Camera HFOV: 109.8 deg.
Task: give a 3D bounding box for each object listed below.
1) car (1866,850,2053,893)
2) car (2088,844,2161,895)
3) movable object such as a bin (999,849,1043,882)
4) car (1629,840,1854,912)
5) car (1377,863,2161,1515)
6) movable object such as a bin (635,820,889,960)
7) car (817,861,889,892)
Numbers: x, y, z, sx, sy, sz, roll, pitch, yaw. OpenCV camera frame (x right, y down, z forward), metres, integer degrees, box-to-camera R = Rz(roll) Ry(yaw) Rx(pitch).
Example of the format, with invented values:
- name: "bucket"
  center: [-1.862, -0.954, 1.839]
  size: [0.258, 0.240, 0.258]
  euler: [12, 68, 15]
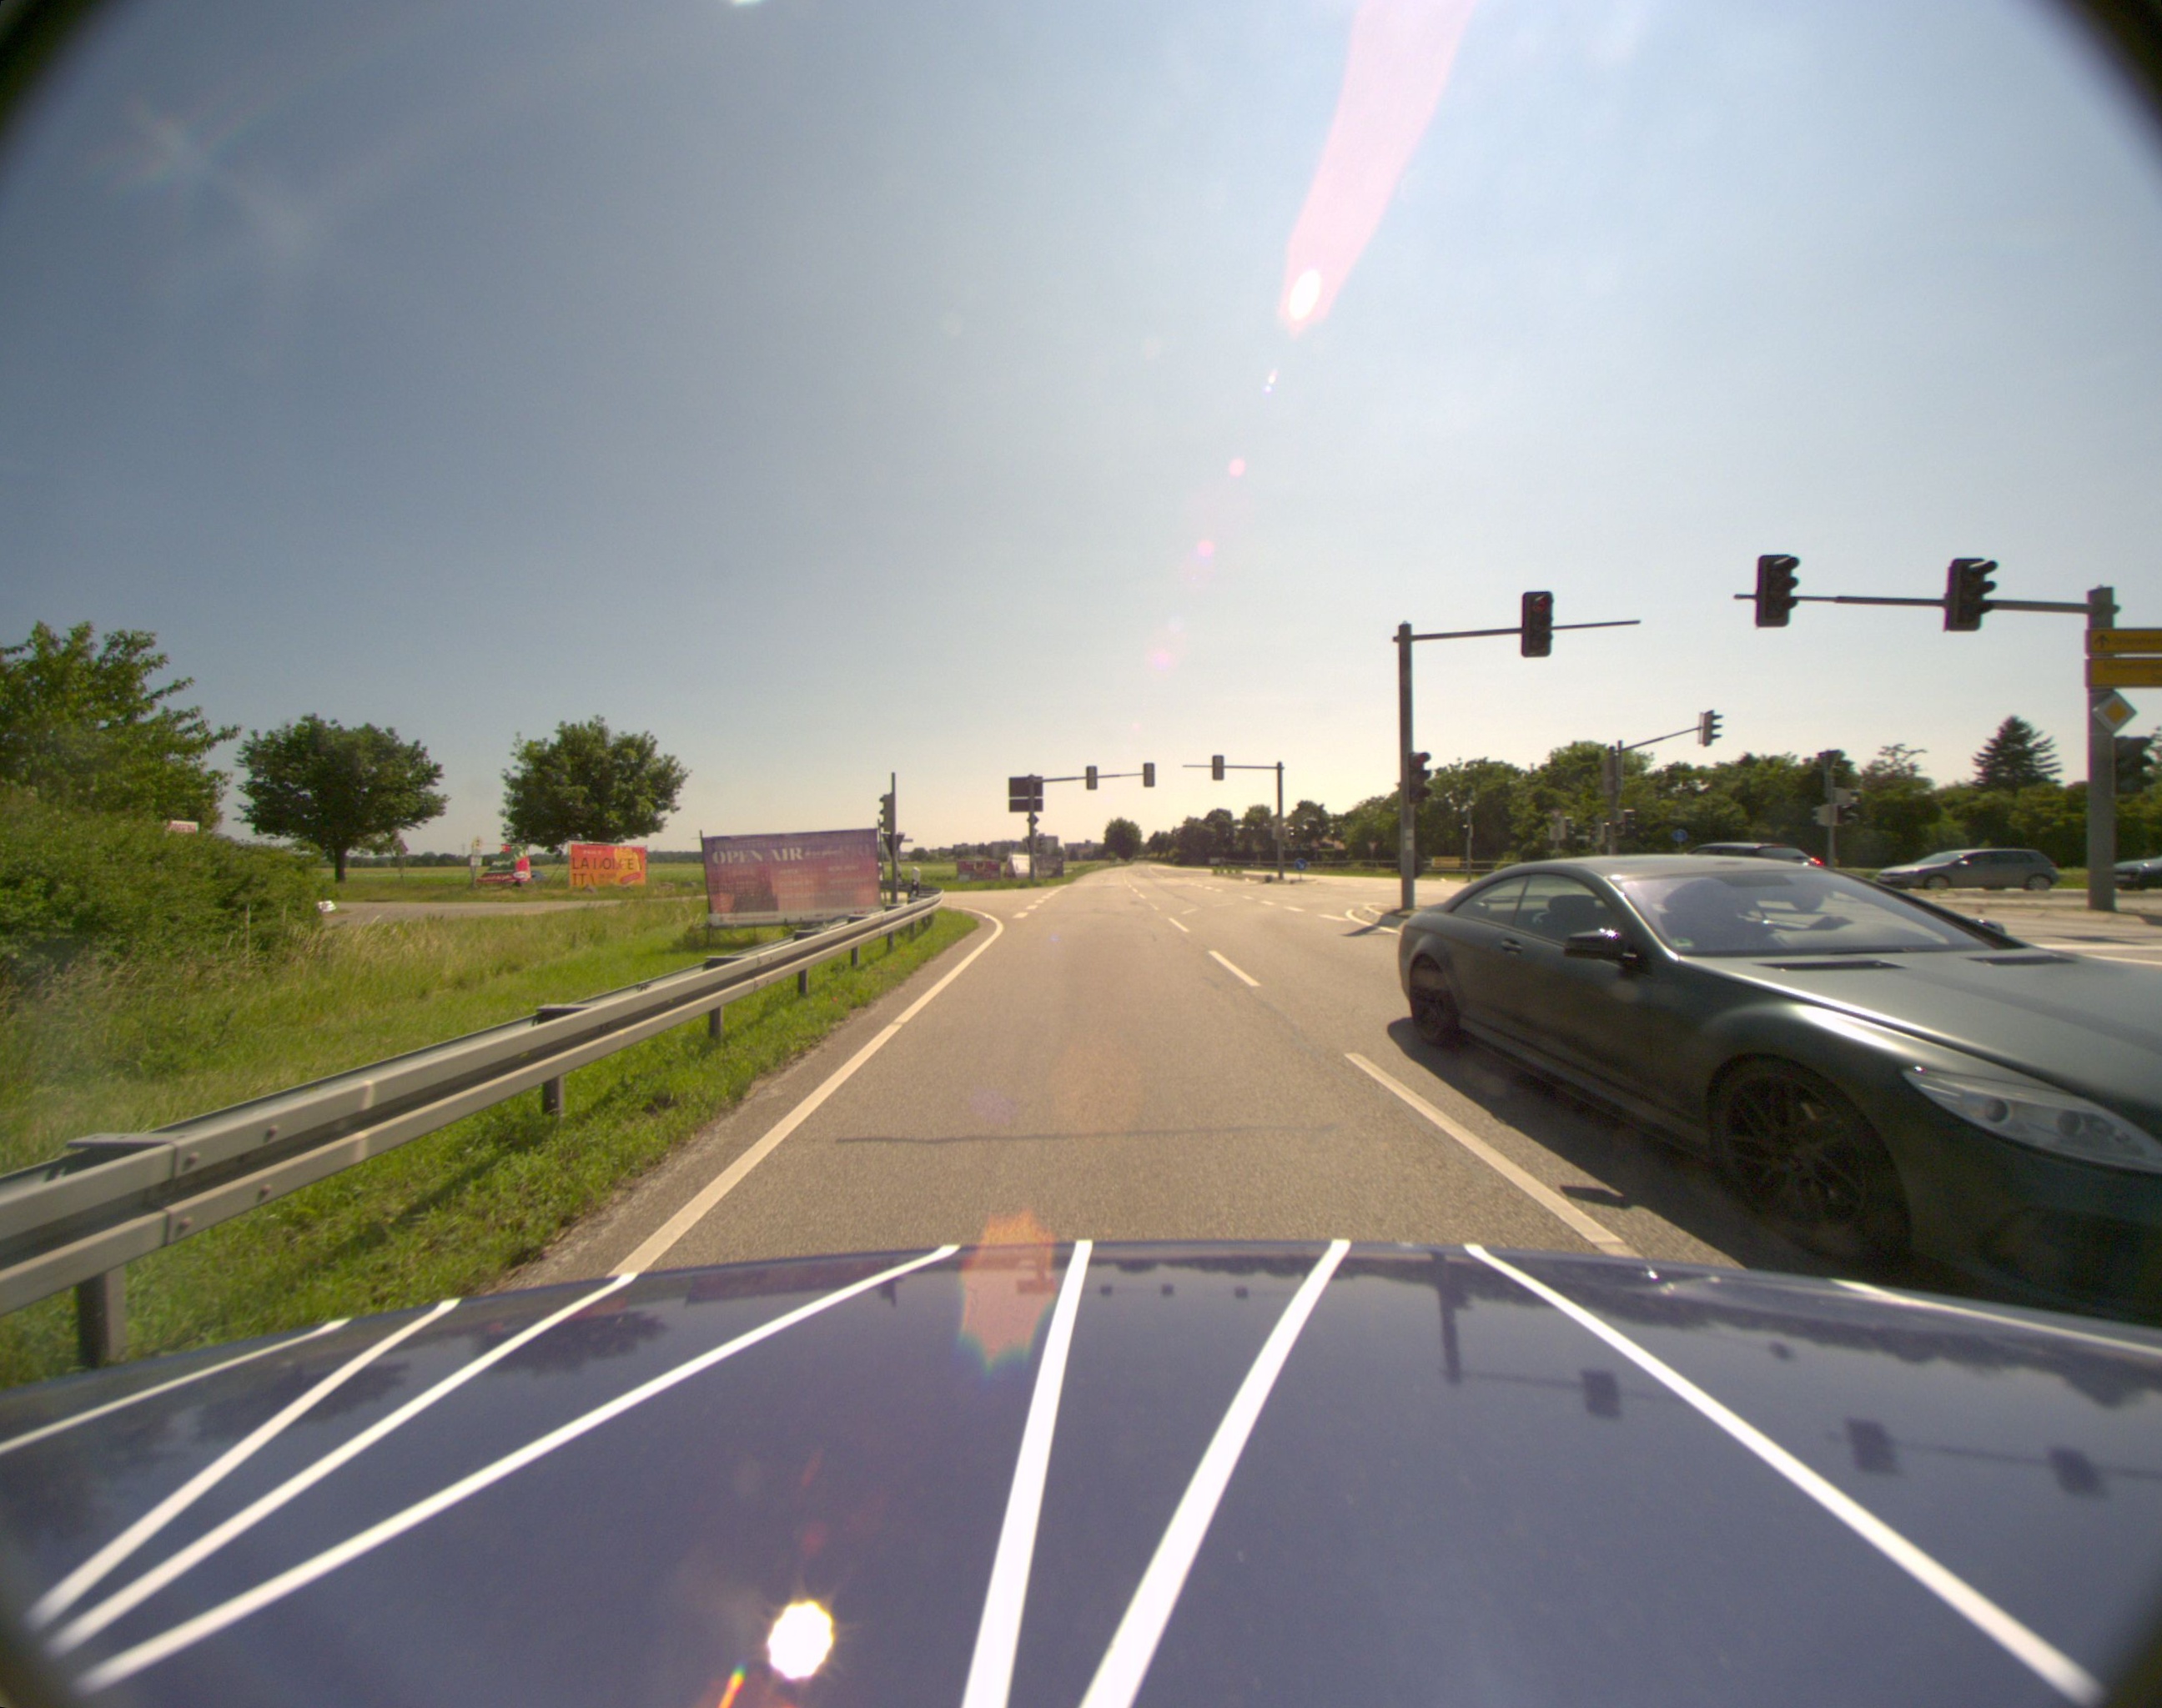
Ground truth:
- name: "car"
  center: [29.717, 0.603, 25.845]
  size: [3.873, 1.378, 1.637]
  euler: [-1, 0, 16]
- name: "car"
  center: [35.699, 0.487, 24.098]
  size: [4.360, 1.585, 1.637]
  euler: [0, 0, 18]
- name: "movable object such as a bin"
  center: [-4.562, 0.868, 58.716]
  size: [1.523, 2.349, 4.430]
  euler: [-2, 1, 21]
- name: "car"
  center: [16.319, 0.472, 19.139]
  size: [1.835, 1.591, 4.304]
  euler: [0, 1, -2]
- name: "car"
  center: [3.477, 0.829, 4.152]
  size: [1.815, 1.441, 4.877]
  euler: [-2, 0, 0]
- name: "movable object such as a bin"
  center: [-5.858, 0.641, 14.237]
  size: [4.105, 2.318, 1.277]
  euler: [-2, 1, -2]
- name: "car"
  center: [-11.883, 1.137, 39.747]
  size: [3.345, 1.491, 1.400]
  euler: [-1, 0, -4]
